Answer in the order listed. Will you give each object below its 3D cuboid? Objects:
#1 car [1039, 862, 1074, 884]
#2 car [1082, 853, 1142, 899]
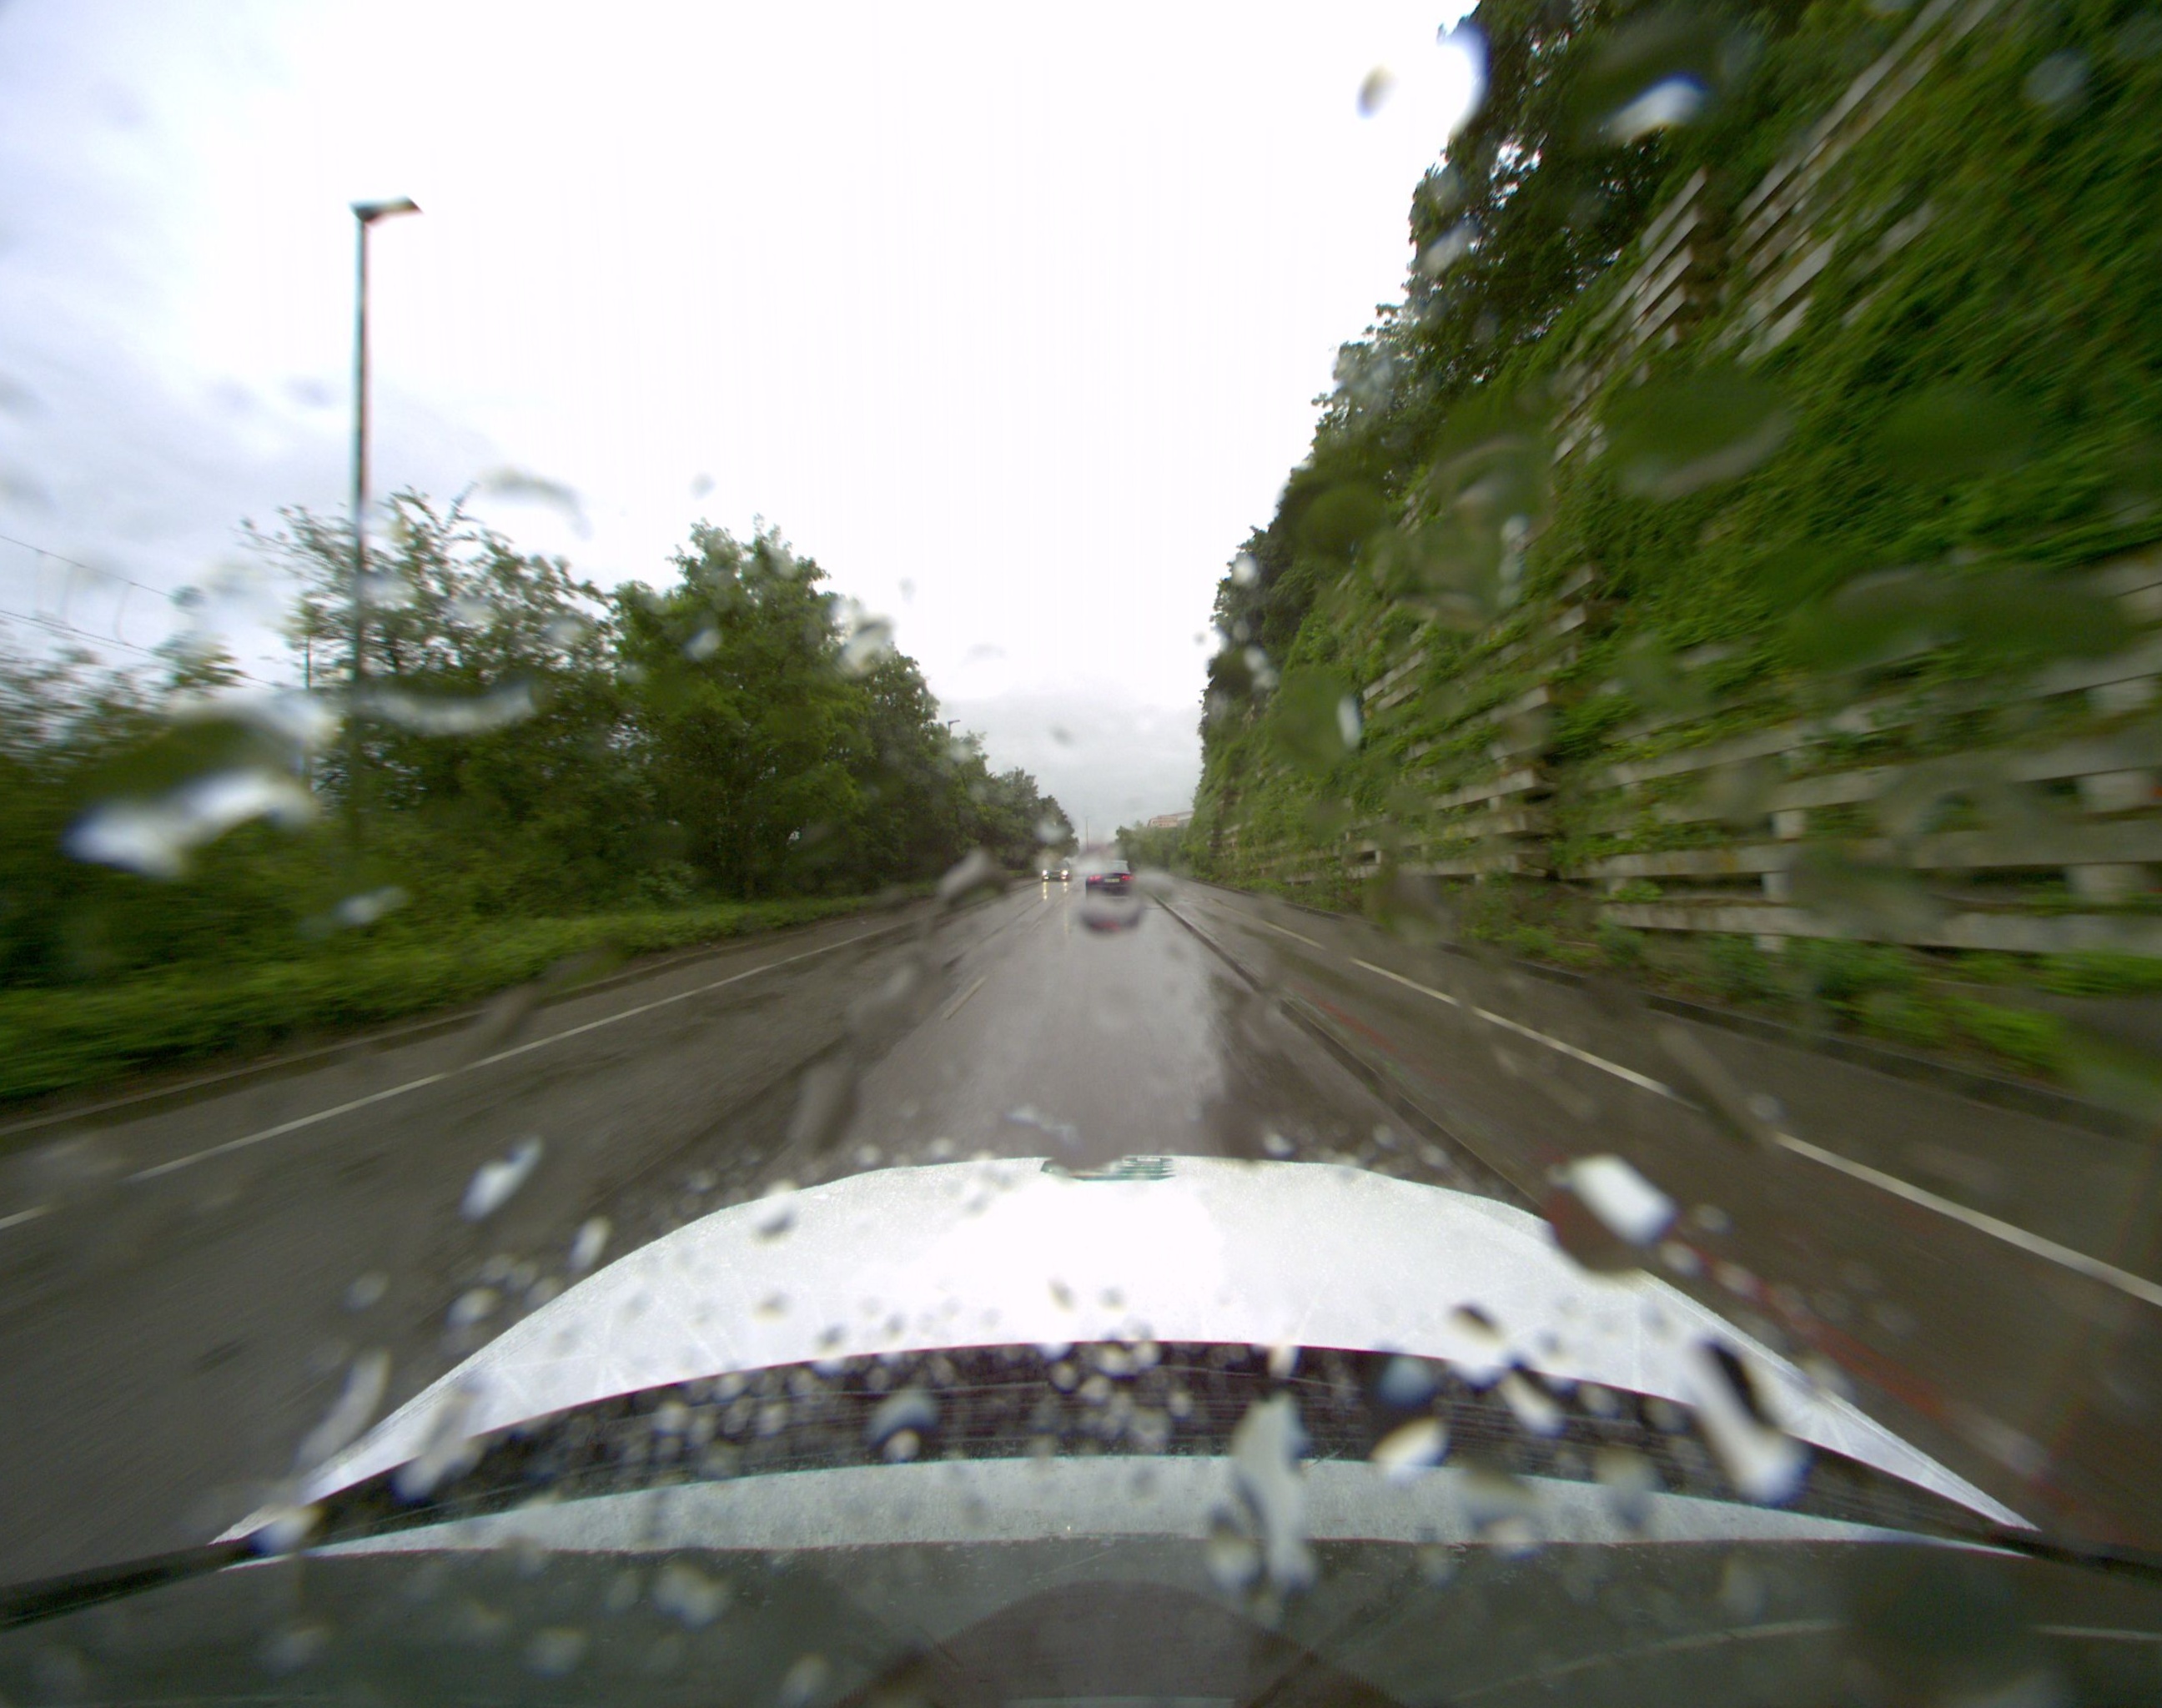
[{"bbox_3d":[-1.576,1.244,54.678,1.985,1.364,4.254,-1,0,3],"label":"car"},{"bbox_3d":[1.178,0.723,29.088,1.883,1.492,4.213,-1,0,5],"label":"car"}]
